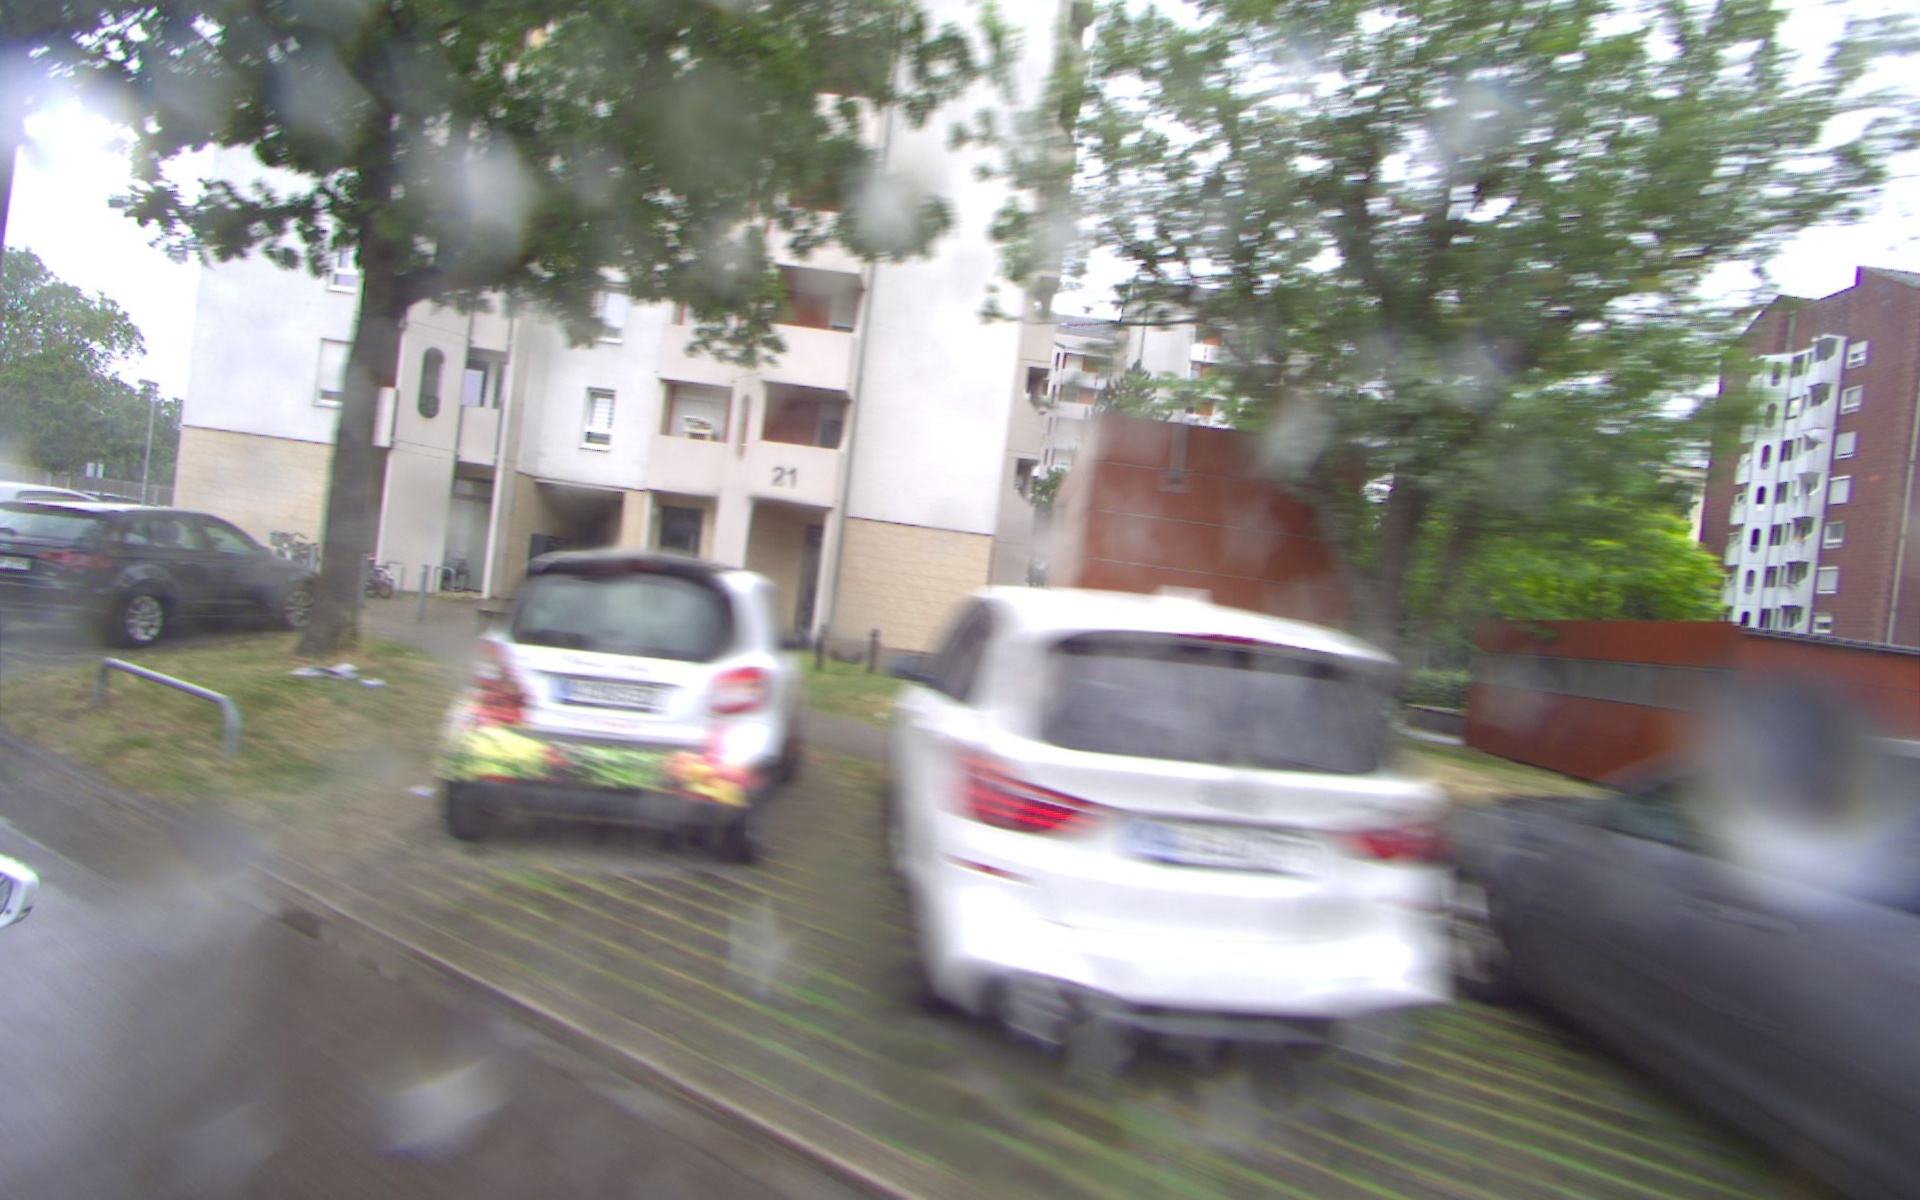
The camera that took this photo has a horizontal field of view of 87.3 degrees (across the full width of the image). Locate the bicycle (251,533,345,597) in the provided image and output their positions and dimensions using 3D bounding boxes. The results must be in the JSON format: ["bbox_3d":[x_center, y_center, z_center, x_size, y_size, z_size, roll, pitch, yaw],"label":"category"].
[{"bbox_3d":[-12.778,-0.679,19.390,2.025,1.018,0.662,6,-1,33],"label":"bicycle"}]

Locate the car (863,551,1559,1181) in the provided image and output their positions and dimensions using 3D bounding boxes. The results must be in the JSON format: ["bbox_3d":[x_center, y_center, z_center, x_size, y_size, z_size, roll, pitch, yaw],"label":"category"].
[{"bbox_3d":[0.531,0.711,5.101,1.781,1.694,4.451,6,2,-7],"label":"car"}]

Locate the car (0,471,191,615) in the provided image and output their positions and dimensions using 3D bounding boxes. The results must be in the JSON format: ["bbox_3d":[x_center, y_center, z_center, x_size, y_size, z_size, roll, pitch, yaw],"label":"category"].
[{"bbox_3d":[-11.772,-0.764,12.364,1.734,1.568,4.176,6,2,-7],"label":"car"}]

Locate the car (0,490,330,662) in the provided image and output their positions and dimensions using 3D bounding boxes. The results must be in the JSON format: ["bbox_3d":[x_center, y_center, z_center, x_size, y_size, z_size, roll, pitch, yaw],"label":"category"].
[{"bbox_3d":[-9.008,-0.338,11.175,1.654,1.451,3.937,7,2,-4],"label":"car"}]

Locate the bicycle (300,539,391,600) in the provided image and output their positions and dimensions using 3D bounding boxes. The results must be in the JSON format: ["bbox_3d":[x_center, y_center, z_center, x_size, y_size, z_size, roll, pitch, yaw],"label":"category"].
[{"bbox_3d":[-12.302,-0.621,20.117,2.025,1.018,0.662,6,-1,33],"label":"bicycle"}]

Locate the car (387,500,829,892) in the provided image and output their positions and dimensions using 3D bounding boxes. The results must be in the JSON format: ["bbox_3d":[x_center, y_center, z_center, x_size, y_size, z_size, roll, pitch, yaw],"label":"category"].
[{"bbox_3d":[-1.933,0.382,6.838,1.654,1.694,4.178,7,2,-4],"label":"car"}]

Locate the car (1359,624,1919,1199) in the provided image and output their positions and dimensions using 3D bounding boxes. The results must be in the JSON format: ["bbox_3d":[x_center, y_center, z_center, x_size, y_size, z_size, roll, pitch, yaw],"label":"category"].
[{"bbox_3d":[3.211,1.035,3.304,1.736,1.429,4.454,7,2,-2],"label":"car"}]

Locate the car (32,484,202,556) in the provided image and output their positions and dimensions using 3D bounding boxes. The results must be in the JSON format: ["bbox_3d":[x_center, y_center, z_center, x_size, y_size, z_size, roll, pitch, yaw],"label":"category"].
[{"bbox_3d":[-27.484,-2.568,33.001,1.781,1.635,4.116,8,-2,3],"label":"car"}]

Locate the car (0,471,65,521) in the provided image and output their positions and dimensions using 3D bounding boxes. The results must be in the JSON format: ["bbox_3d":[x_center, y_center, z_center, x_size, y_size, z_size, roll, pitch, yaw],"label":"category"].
[{"bbox_3d":[-35.332,-3.952,36.511,3.924,1.458,2.002,7,-1,5],"label":"car"}]
